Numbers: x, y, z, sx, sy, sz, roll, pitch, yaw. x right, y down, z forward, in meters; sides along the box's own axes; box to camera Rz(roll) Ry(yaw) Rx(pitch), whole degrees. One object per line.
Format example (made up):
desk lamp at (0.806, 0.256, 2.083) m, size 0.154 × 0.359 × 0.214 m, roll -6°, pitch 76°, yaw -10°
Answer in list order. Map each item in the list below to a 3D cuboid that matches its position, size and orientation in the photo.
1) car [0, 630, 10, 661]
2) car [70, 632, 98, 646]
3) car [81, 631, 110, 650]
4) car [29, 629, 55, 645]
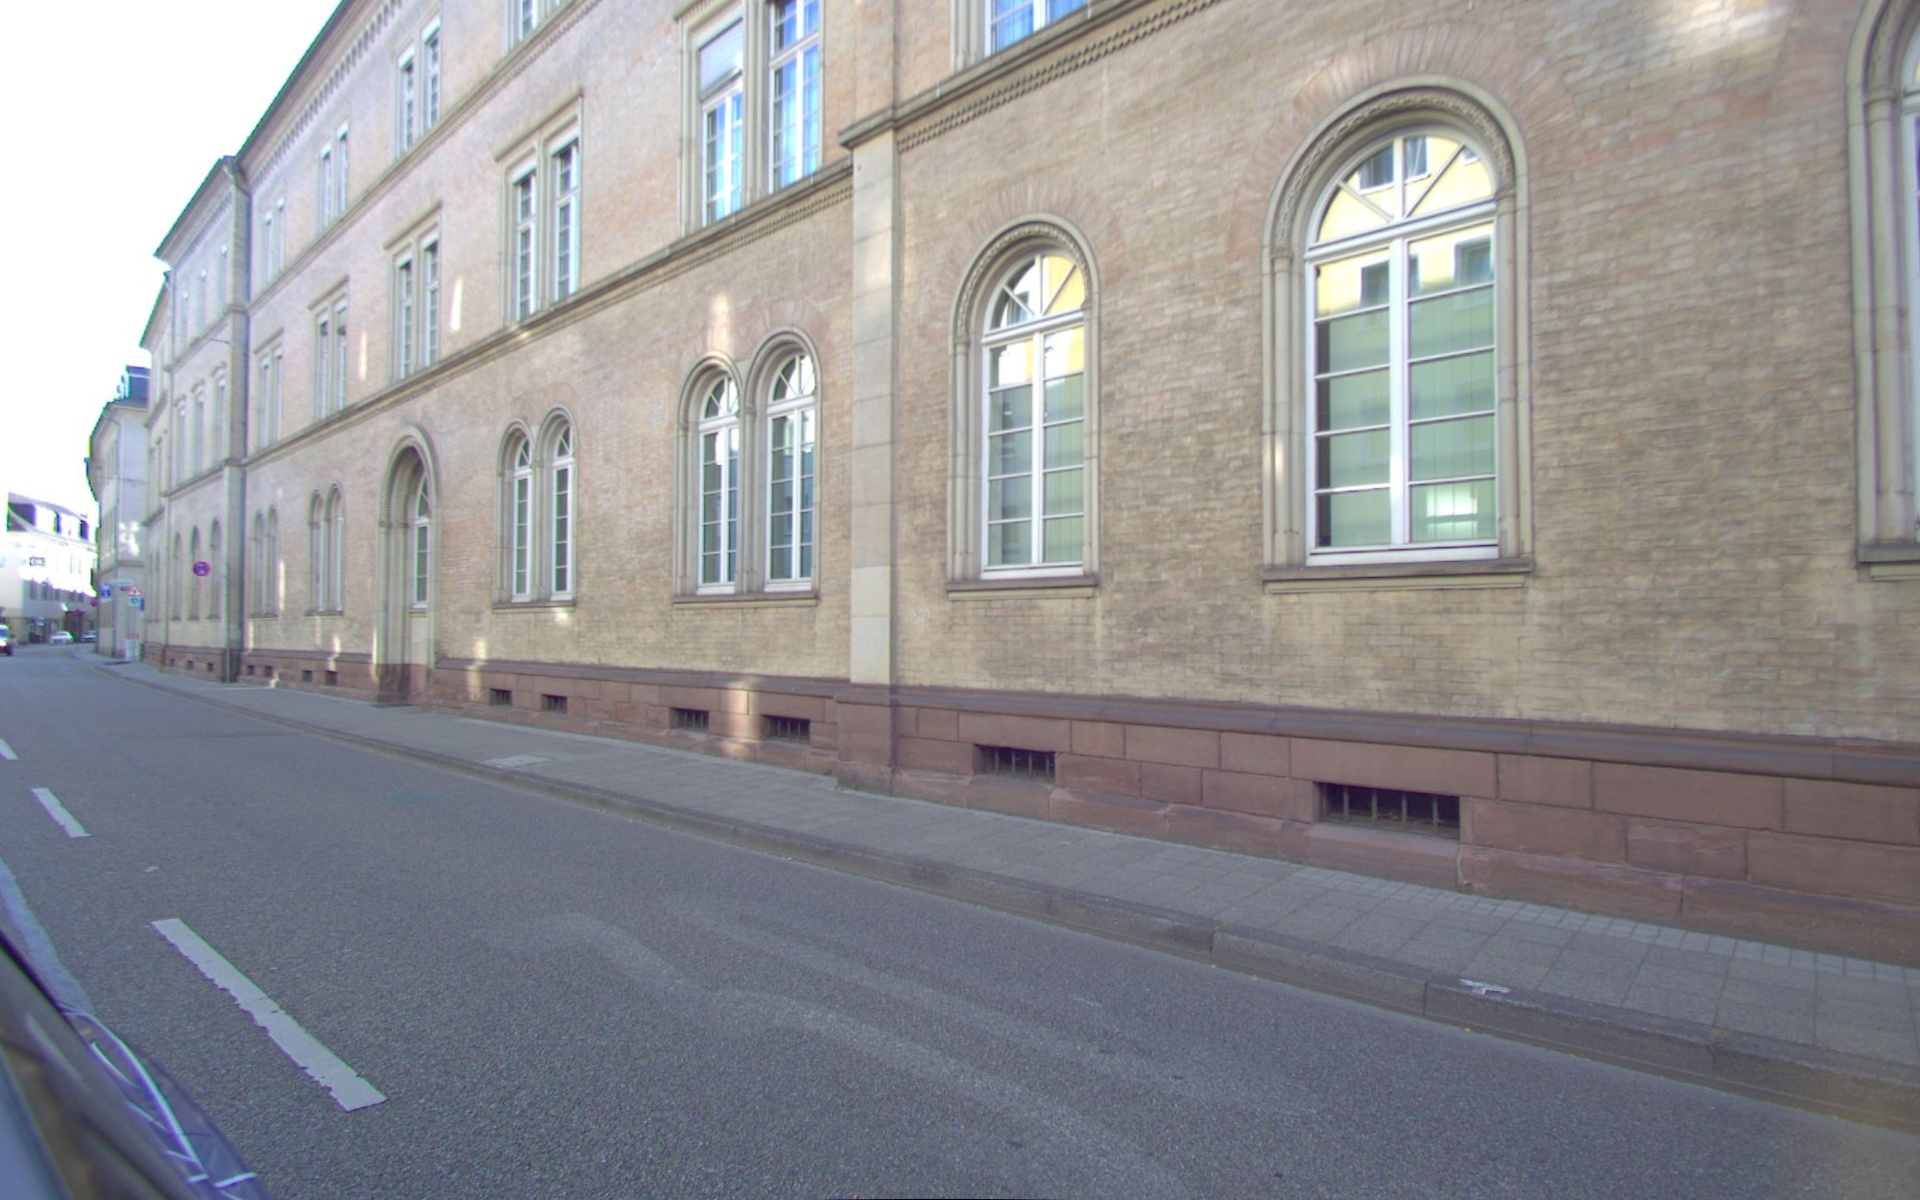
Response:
car at (-56.365, 2.601, 58.598) m, size 1.895 × 1.735 × 4.965 m, roll 2°, pitch -3°, yaw -43°
car at (-109.424, 4.814, 126.408) m, size 1.896 × 1.737 × 4.242 m, roll 1°, pitch -2°, yaw -31°
car at (-80.159, 3.715, 93.881) m, size 1.638 × 1.737 × 3.748 m, roll 1°, pitch -2°, yaw -36°
car at (-102.444, 4.149, 112.966) m, size 1.511 × 1.737 × 3.749 m, roll 1°, pitch -2°, yaw -34°
